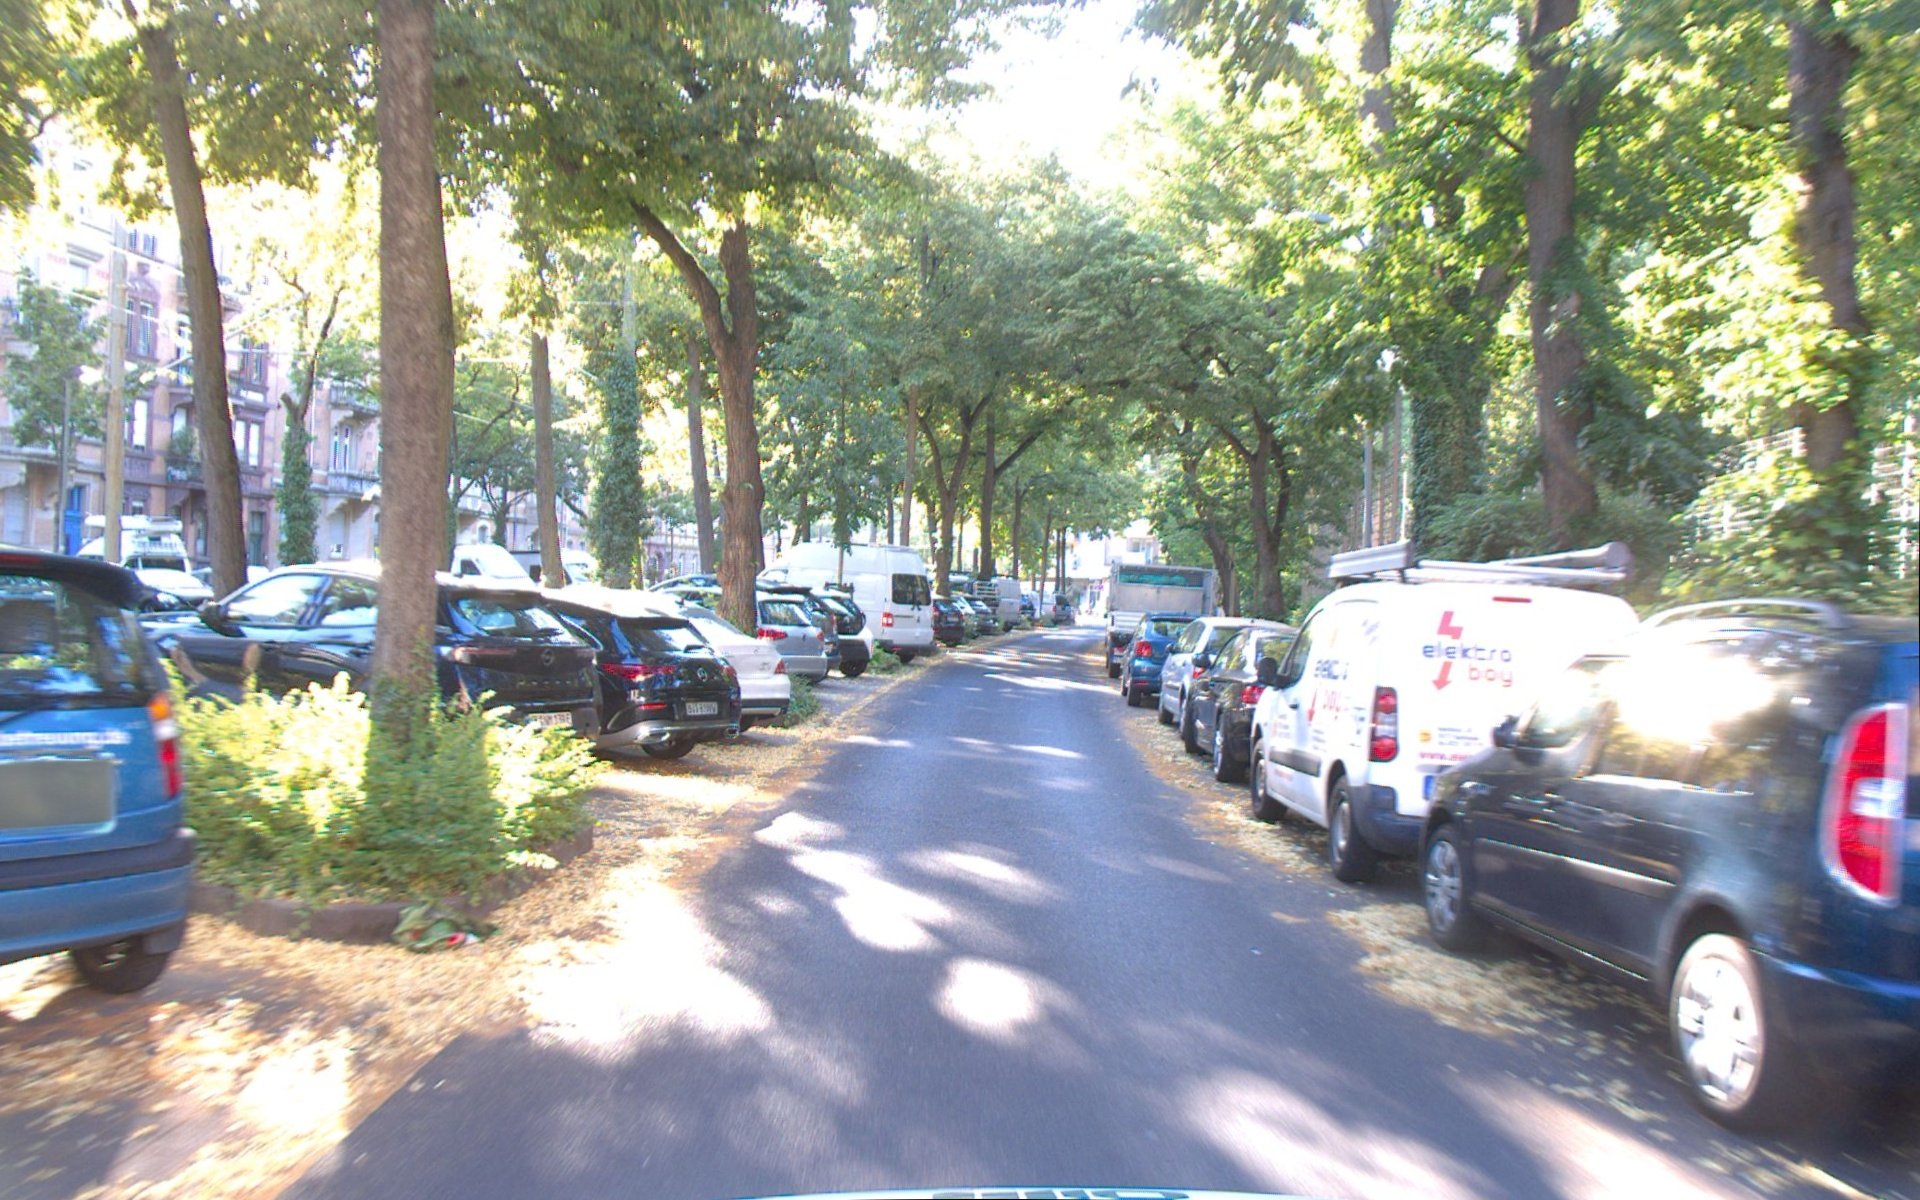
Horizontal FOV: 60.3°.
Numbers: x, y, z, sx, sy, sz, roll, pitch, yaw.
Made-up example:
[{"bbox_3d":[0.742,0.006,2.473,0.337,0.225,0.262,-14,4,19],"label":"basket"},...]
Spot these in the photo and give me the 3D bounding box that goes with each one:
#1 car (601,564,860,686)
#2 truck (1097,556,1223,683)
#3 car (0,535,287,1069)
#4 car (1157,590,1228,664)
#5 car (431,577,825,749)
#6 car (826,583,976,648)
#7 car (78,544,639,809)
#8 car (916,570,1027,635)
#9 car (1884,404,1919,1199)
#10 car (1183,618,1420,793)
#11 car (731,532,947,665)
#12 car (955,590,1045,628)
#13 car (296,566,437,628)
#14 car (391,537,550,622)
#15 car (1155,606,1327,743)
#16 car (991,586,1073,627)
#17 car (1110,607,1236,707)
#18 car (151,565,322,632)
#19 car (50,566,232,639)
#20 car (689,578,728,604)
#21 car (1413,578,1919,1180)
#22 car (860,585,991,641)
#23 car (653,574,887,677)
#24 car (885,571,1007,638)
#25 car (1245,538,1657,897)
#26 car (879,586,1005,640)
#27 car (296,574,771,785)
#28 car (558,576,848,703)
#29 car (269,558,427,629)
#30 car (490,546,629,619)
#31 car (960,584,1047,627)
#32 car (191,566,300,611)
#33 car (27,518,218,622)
[{"bbox_3d":[-3.745,0.399,26.994,3.741,1.614,1.737,5,0,24],"label":"car"},{"bbox_3d":[4.064,0.373,34.299,2.316,2.393,4.386,2,0,4],"label":"truck"},{"bbox_3d":[-4.381,0.514,6.033,3.539,1.589,1.605,5,1,28],"label":"car"},{"bbox_3d":[5.635,0.635,40.358,1.538,1.677,3.603,2,0,6],"label":"car"},{"bbox_3d":[-3.548,0.635,17.730,3.741,1.415,1.737,5,0,24],"label":"car"},{"bbox_3d":[-1.724,0.440,48.134,4.010,1.499,1.813,5,0,35],"label":"car"},{"bbox_3d":[-4.554,0.514,12.541,3.741,1.522,1.737,5,0,24],"label":"car"},{"bbox_3d":[0.445,0.077,66.336,4.010,2.248,1.813,5,0,35],"label":"car"},{"bbox_3d":[3.393,0.591,1.791,1.906,2.038,4.656,2,0,-4],"label":"car"},{"bbox_3d":[3.192,0.928,16.096,1.539,1.410,3.600,2,0,0],"label":"car"},{"bbox_3d":[-2.684,-0.048,36.284,4.410,2.519,1.813,5,0,35],"label":"car"},{"bbox_3d":[1.969,0.440,81.756,4.010,1.499,1.813,5,0,35],"label":"car"},{"bbox_3d":[-18.074,-0.087,50.299,4.151,1.728,1.853,-2,0,32],"label":"car"},{"bbox_3d":[-16.588,-0.654,55.967,5.157,2.617,2.267,-2,0,32],"label":"car"},{"bbox_3d":[3.447,0.865,20.860,1.539,1.493,3.600,2,0,0],"label":"car"},{"bbox_3d":[3.912,0.353,90.048,4.010,1.820,1.813,5,0,35],"label":"car"},{"bbox_3d":[3.343,0.858,26.467,1.539,1.409,3.600,2,0,0],"label":"car"},{"bbox_3d":[-17.830,-0.026,40.726,4.151,1.499,1.853,-2,0,32],"label":"car"},{"bbox_3d":[-18.810,0.065,37.944,4.151,1.499,1.853,-2,0,32],"label":"car"},{"bbox_3d":[-18.308,-0.660,120.658,1.674,1.852,4.003,1,0,8],"label":"car"},{"bbox_3d":[3.146,0.785,6.485,1.540,1.666,3.710,2,0,-3],"label":"car"},{"bbox_3d":[-1.162,0.426,55.005,4.010,1.499,1.813,5,0,35],"label":"car"},{"bbox_3d":[-3.416,0.455,29.772,3.741,1.507,1.737,5,0,24],"label":"car"},{"bbox_3d":[-0.538,0.141,60.126,4.010,2.075,1.813,5,0,35],"label":"car"},{"bbox_3d":[3.045,0.640,11.069,1.539,1.937,3.902,2,0,0],"label":"car"},{"bbox_3d":[-0.628,0.444,57.639,4.010,1.499,1.813,5,0,35],"label":"car"},{"bbox_3d":[-3.788,0.653,14.731,3.741,1.415,1.737,5,0,24],"label":"car"},{"bbox_3d":[-3.726,0.557,24.009,3.741,1.446,1.737,5,0,24],"label":"car"},{"bbox_3d":[-16.529,-0.165,44.617,4.151,1.728,1.853,-2,0,32],"label":"car"},{"bbox_3d":[-15.657,-0.645,64.572,5.157,2.617,2.267,-2,0,32],"label":"car"},{"bbox_3d":[2.208,0.272,84.635,4.010,1.820,1.813,5,0,35],"label":"car"},{"bbox_3d":[-24.722,-0.408,57.371,1.674,1.471,4.003,1,0,6],"label":"car"},{"bbox_3d":[-25.111,-0.878,49.859,2.498,2.937,5.485,1,0,6],"label":"car"}]
